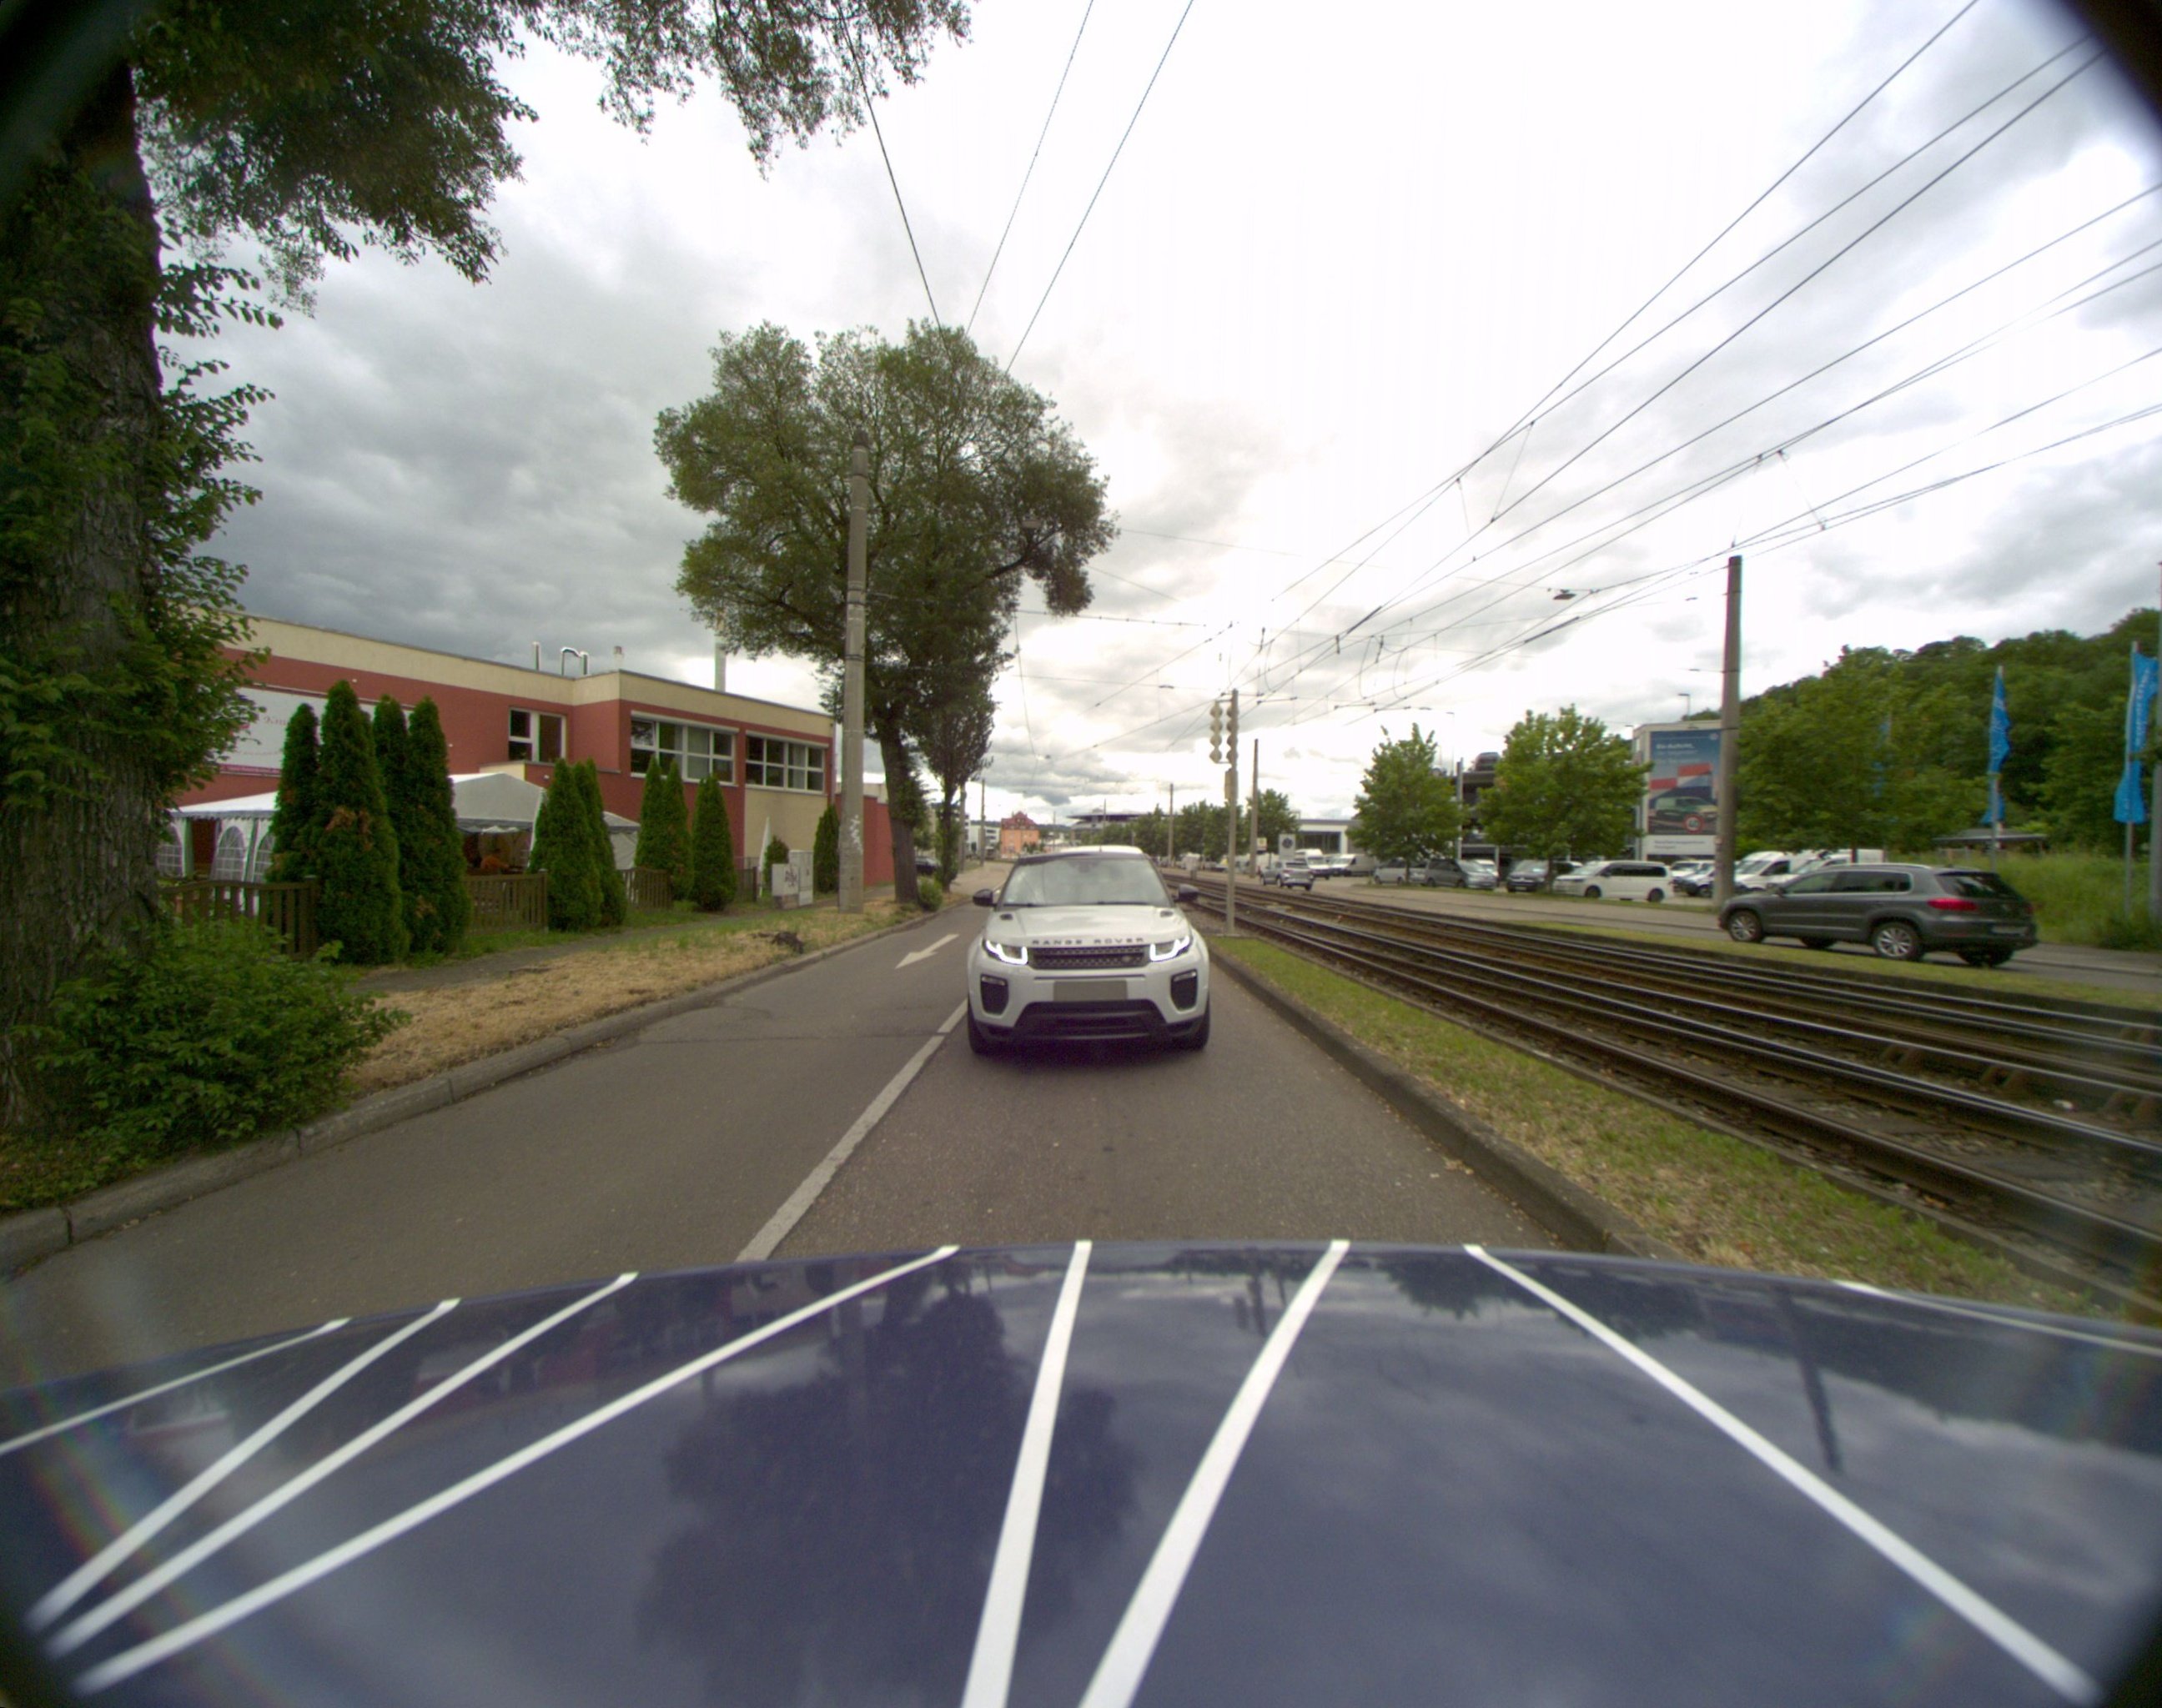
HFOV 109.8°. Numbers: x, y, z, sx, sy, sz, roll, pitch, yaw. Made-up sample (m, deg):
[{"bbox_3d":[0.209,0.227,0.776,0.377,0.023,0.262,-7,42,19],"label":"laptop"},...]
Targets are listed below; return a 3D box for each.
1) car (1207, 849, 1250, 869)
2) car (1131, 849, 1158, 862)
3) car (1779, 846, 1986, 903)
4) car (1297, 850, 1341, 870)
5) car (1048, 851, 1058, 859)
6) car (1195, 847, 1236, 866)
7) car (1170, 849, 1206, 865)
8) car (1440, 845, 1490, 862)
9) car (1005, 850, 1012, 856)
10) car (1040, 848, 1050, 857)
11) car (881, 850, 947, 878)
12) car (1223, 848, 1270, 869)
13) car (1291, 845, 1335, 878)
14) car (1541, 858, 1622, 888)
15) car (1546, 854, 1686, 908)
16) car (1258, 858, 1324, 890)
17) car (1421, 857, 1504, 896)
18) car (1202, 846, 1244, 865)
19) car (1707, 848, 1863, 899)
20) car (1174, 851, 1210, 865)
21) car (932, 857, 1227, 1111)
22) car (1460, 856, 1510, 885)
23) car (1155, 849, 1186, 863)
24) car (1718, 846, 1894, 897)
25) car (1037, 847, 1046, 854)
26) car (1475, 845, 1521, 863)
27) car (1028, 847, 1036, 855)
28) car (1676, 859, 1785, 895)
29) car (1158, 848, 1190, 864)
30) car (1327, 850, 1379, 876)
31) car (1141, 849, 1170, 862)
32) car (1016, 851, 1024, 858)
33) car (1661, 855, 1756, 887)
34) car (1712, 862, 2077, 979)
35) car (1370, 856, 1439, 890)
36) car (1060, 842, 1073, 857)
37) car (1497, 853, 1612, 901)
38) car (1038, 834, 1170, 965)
[{"bbox_3d":[17.678,0.609,91.171,4.639,2.196,2.107,-2,1,-8],"label":"car"},{"bbox_3d":[11.819,0.195,141.314,4.639,2.196,2.107,-2,1,-8],"label":"car"},{"bbox_3d":[34.664,0.913,33.125,5.850,2.254,2.056,-2,1,22],"label":"car"},{"bbox_3d":[29.098,0.723,93.024,4.636,2.196,2.108,-2,1,-1],"label":"car"},{"bbox_3d":[-7.113,0.305,191.575,2.000,2.002,3.997,-2,1,-7],"label":"car"},{"bbox_3d":[17.049,0.325,96.391,4.639,2.196,2.107,-2,1,-8],"label":"car"},{"bbox_3d":[15.519,0.397,110.521,4.639,2.196,2.107,-2,1,-8],"label":"car"},{"bbox_3d":[46.318,-0.109,91.798,5.216,1.826,1.983,-2,1,21],"label":"car"},{"bbox_3d":[-22.989,-0.361,241.217,2.000,2.002,3.997,-2,1,-7],"label":"car"},{"bbox_3d":[-8.441,-0.367,179.542,2.000,2.002,3.997,-2,1,-7],"label":"car"},{"bbox_3d":[-10.895,0.652,49.756,3.999,1.636,1.895,-2,1,-6],"label":"car"},{"bbox_3d":[18.754,0.527,86.084,4.639,2.196,2.107,-2,1,-8],"label":"car"},{"bbox_3d":[22.386,0.679,73.590,2.320,2.994,6.157,-2,1,0],"label":"car"},{"bbox_3d":[34.387,1.304,52.314,4.228,1.826,1.983,-2,1,19],"label":"car"},{"bbox_3d":[25.261,1.243,35.996,5.269,2.254,1.999,-2,1,-3],"label":"car"},{"bbox_3d":[11.333,1.052,41.248,2.000,1.569,4.175,1,0,-7],"label":"car"},{"bbox_3d":[22.925,1.270,45.865,2.142,2.104,4.773,-2,1,-7],"label":"car"},{"bbox_3d":[17.470,0.144,93.607,4.639,2.196,2.107,-2,1,-8],"label":"car"},{"bbox_3d":[36.784,1.005,39.913,5.652,2.446,1.983,-2,1,19],"label":"car"},{"bbox_3d":[15.739,0.599,108.120,4.639,1.829,2.107,-2,1,-8],"label":"car"},{"bbox_3d":[-0.010,0.894,7.298,1.998,1.680,4.268,0,1,0],"label":"car"},{"bbox_3d":[28.867,1.151,54.406,1.900,1.882,4.600,-2,1,12],"label":"car"},{"bbox_3d":[14.457,0.299,122.915,4.639,2.196,2.107,-2,1,-8],"label":"car"},{"bbox_3d":[34.992,0.858,36.911,5.839,2.254,2.056,-2,1,22],"label":"car"},{"bbox_3d":[-10.672,-0.956,205.063,2.000,2.002,3.997,-2,1,-7],"label":"car"},{"bbox_3d":[47.079,-0.023,85.874,4.227,1.826,1.983,-2,1,21],"label":"car"},{"bbox_3d":[-13.121,-0.743,204.216,2.000,2.002,3.997,-2,1,-7],"label":"car"},{"bbox_3d":[36.644,1.287,42.983,4.228,1.826,1.983,-2,1,19],"label":"car"},{"bbox_3d":[14.734,0.316,120.480,4.639,2.196,2.107,-2,1,-8],"label":"car"},{"bbox_3d":[30.306,0.977,84.562,6.057,2.608,2.316,-3,1,-34],"label":"car"},{"bbox_3d":[12.985,0.245,132.832,4.639,2.196,2.107,-2,1,-8],"label":"car"},{"bbox_3d":[-17.457,0.142,216.301,2.000,2.002,3.997,-2,1,-7],"label":"car"},{"bbox_3d":[39.862,1.058,48.395,4.228,1.826,1.983,-2,1,19],"label":"car"},{"bbox_3d":[14.376,1.074,13.854,1.907,1.708,4.133,3,0,-9],"label":"car"},{"bbox_3d":[22.114,1.238,52.099,2.142,2.104,4.772,-2,1,-8],"label":"car"},{"bbox_3d":[-2.997,-0.949,155.274,2.410,2.931,4.747,-2,1,-2],"label":"car"},{"bbox_3d":[24.667,1.149,39.666,4.774,2.254,1.979,-2,1,-3],"label":"car"},{"bbox_3d":[0.364,0.677,14.069,1.998,1.990,5.034,0,0,0],"label":"car"}]
